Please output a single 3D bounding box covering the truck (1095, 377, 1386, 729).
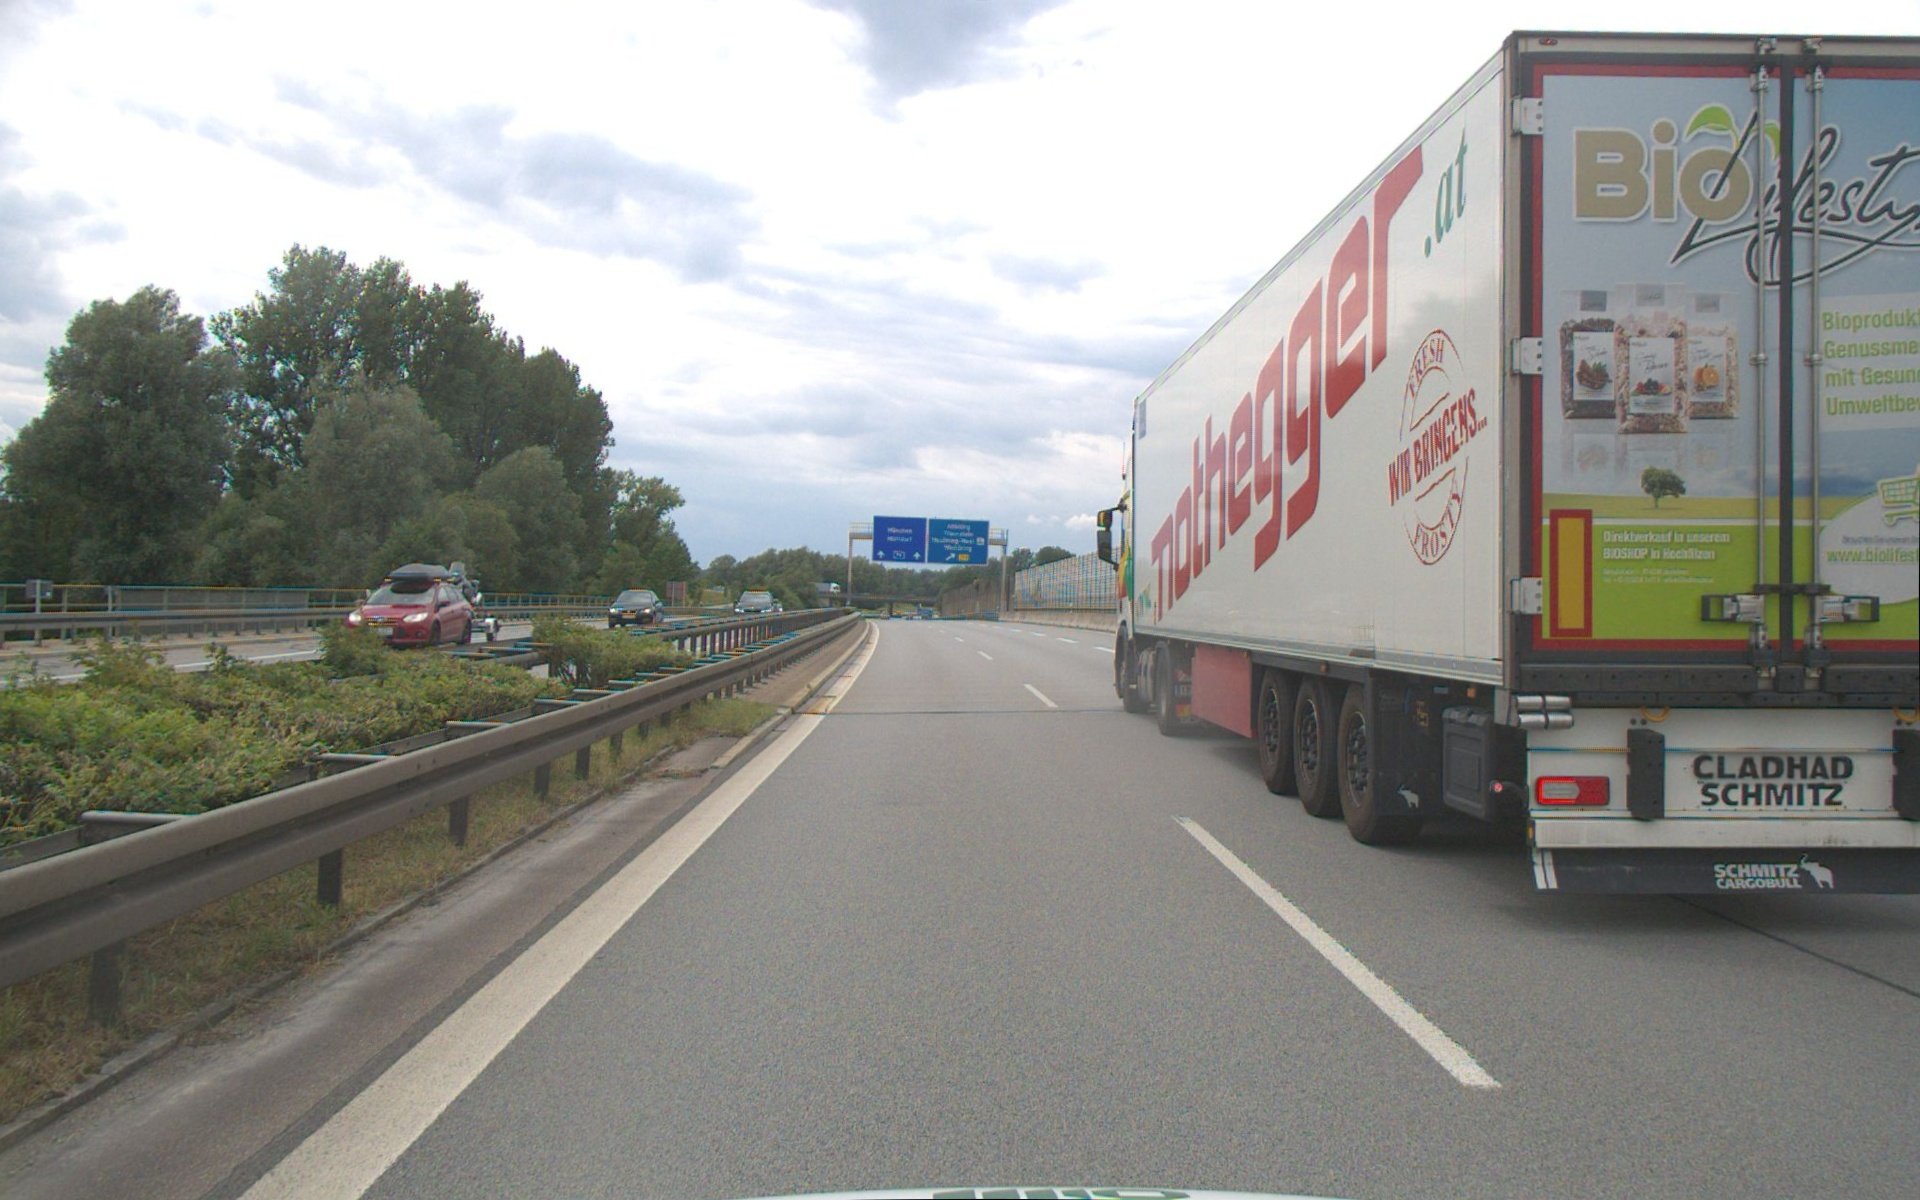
[{"bbox_3d":[3.459,-0.543,21.808,2.700,4.029,5.675,0,0,-2],"label":"truck"}]

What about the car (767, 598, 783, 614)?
[{"bbox_3d":[-25.112,0.819,224.939,1.955,2.038,4.738,1,-1,-5],"label":"car"}]

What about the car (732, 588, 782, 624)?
[{"bbox_3d":[-9.089,0.261,74.342,1.804,1.557,4.833,0,0,-2],"label":"car"}]

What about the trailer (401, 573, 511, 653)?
[{"bbox_3d":[-11.818,0.286,38.947,1.615,1.779,3.374,1,0,-2],"label":"trailer"}]

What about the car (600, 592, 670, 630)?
[{"bbox_3d":[-12.733,0.395,65.061,1.930,1.428,4.708,0,0,-2],"label":"car"}]

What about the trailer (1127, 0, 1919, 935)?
[{"bbox_3d":[3.655,-0.668,14.348,2.736,4.248,14.100,0,0,-1],"label":"trailer"}]

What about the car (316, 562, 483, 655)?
[{"bbox_3d":[-11.631,0.167,34.685,1.930,1.792,4.943,1,0,-2],"label":"car"}]
